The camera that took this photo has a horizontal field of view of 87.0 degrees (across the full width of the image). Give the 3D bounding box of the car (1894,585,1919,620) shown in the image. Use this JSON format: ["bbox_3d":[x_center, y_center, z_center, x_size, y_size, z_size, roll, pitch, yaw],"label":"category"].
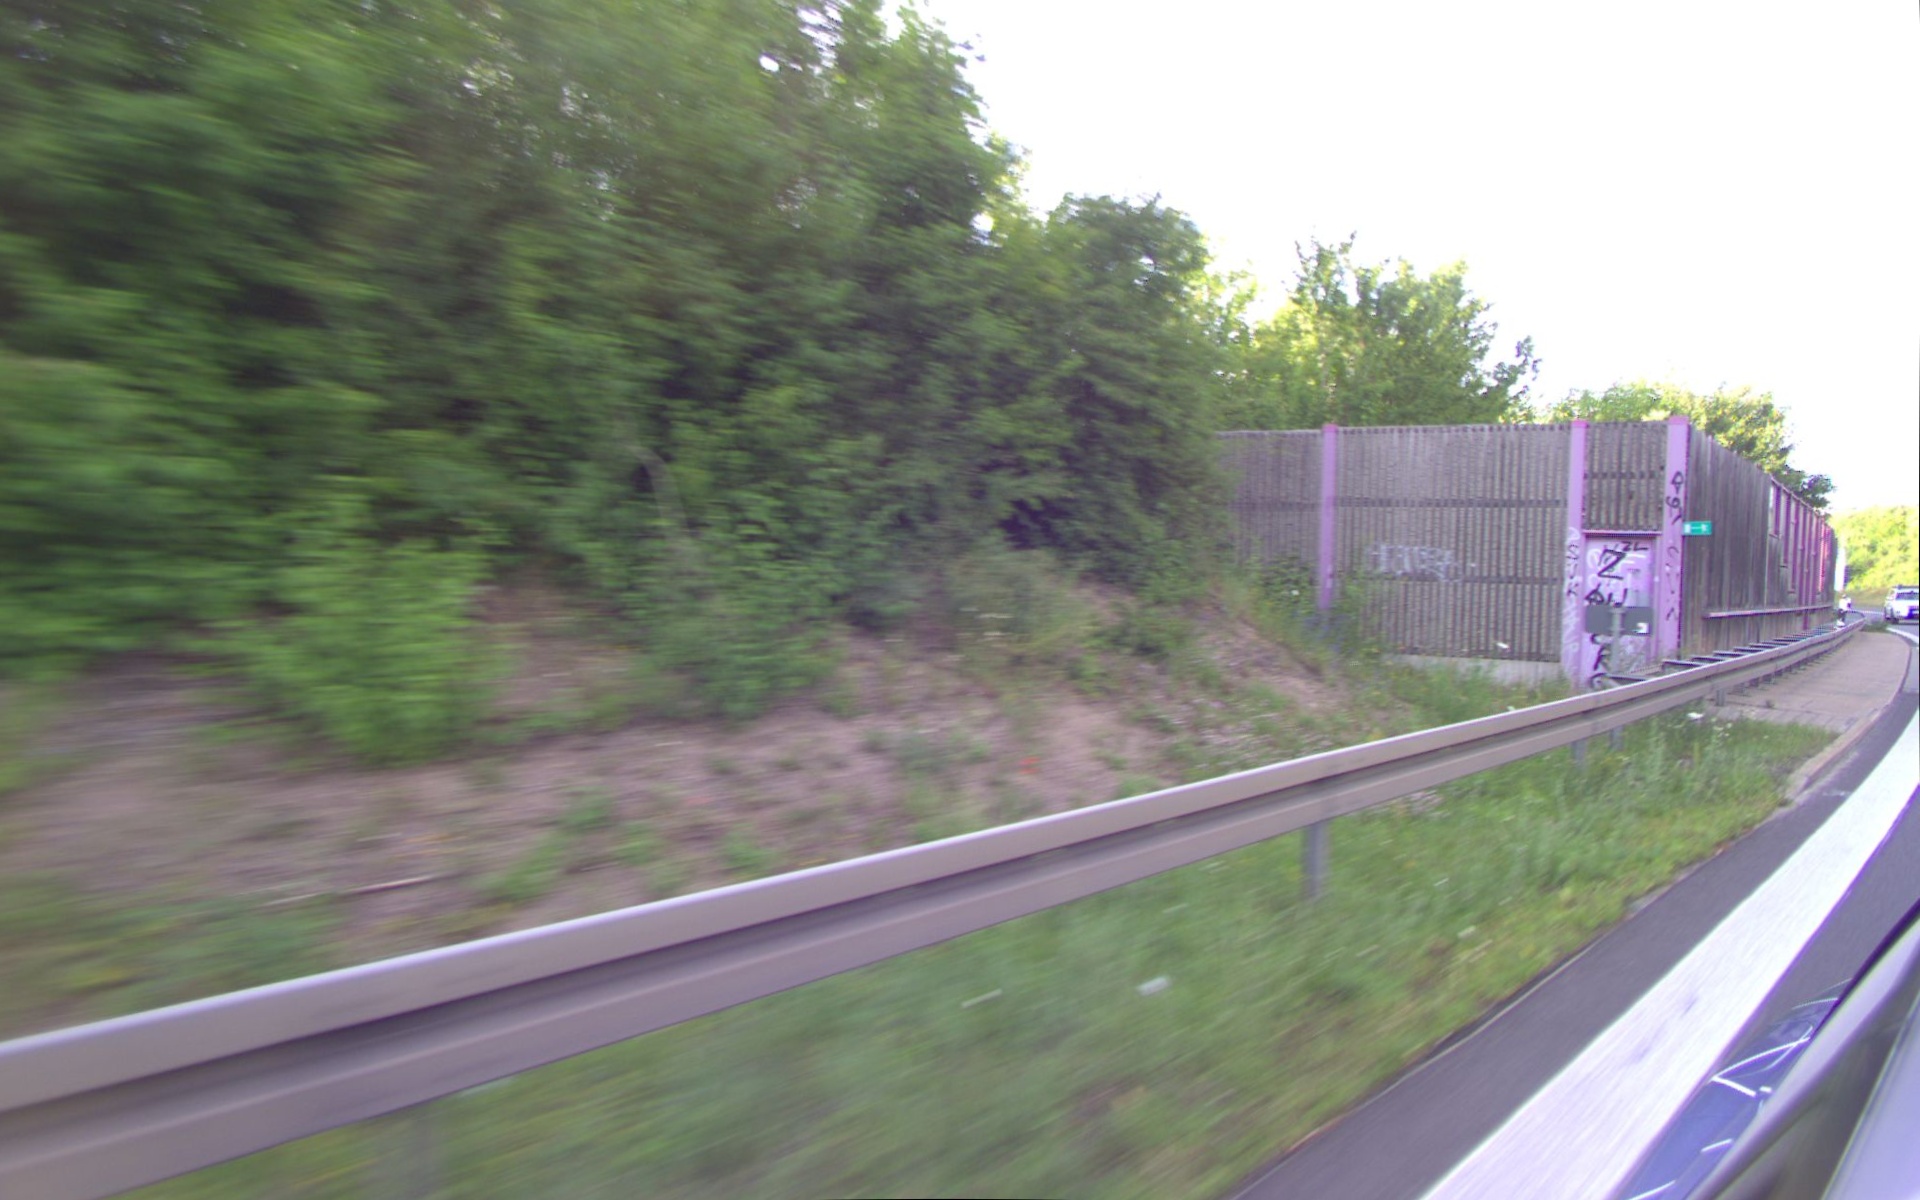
[{"bbox_3d":[48.740,0.128,51.074,1.895,1.686,3.948,1,1,36],"label":"car"}]

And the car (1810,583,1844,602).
[{"bbox_3d":[71.563,-0.642,83.599,1.608,1.478,3.621,0,1,32],"label":"car"}]
